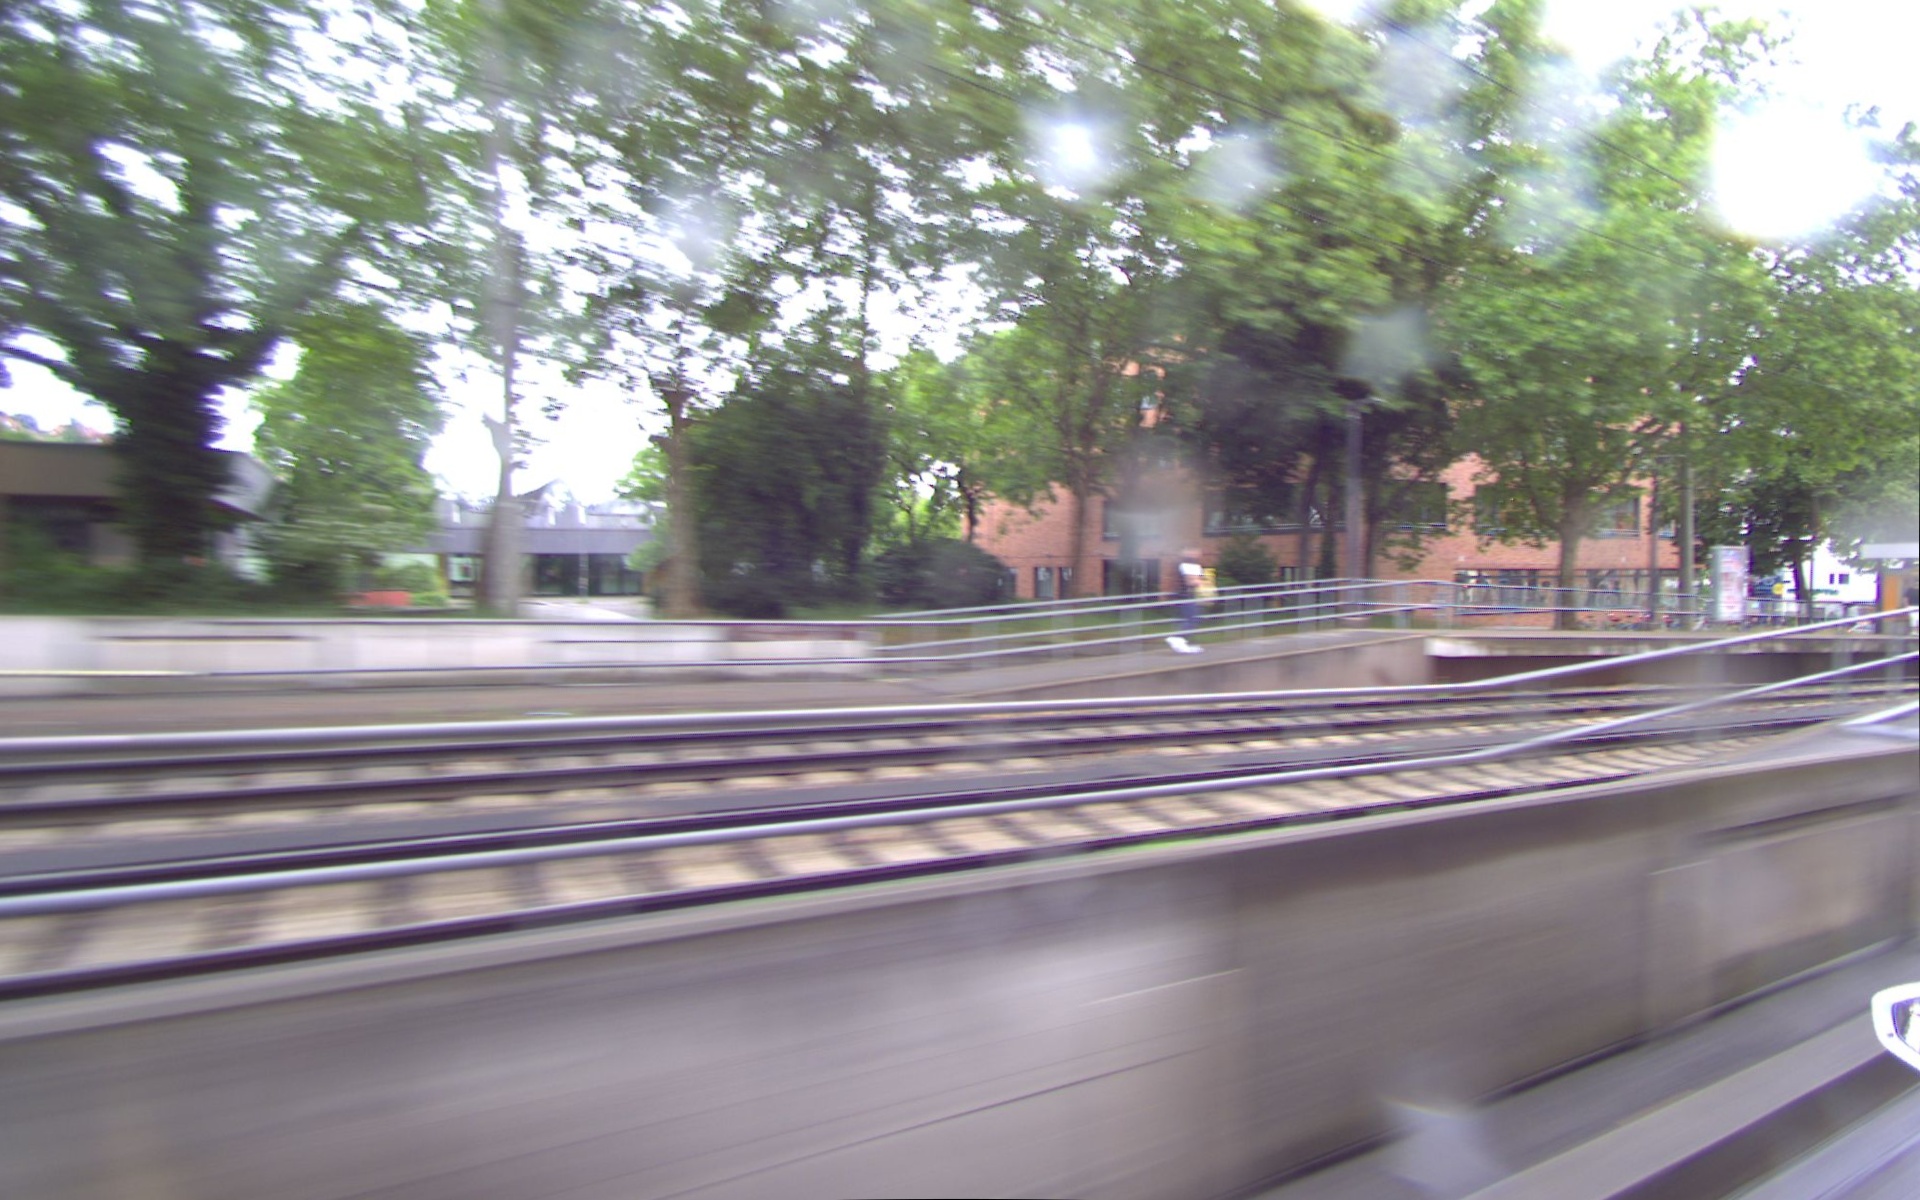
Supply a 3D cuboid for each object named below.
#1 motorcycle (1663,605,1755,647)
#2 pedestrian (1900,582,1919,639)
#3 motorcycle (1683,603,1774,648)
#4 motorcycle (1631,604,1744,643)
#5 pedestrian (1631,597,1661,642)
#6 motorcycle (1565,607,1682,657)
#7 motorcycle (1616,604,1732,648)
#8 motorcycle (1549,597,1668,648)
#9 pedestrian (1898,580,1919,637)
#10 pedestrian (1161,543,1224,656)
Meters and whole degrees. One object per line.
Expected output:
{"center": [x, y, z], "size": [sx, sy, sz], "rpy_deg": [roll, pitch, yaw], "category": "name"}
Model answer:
{"center": [32.475, 1.107, 43.619], "size": [0.995, 1.649, 3.042], "rpy_deg": [1, 1, -31], "category": "motorcycle"}
{"center": [29.658, 0.308, 31.113], "size": [0.698, 1.738, 0.559], "rpy_deg": [0, 2, -32], "category": "pedestrian"}
{"center": [33.939, 1.115, 44.428], "size": [0.982, 1.840, 3.021], "rpy_deg": [1, 1, -31], "category": "motorcycle"}
{"center": [31.273, 0.969, 43.306], "size": [0.995, 1.508, 3.844], "rpy_deg": [1, 1, -31], "category": "motorcycle"}
{"center": [31.691, 0.914, 46.393], "size": [0.968, 2.041, 0.729], "rpy_deg": [1, 1, -28], "category": "pedestrian"}
{"center": [26.725, 1.251, 40.566], "size": [0.995, 1.840, 3.844], "rpy_deg": [1, 1, -31], "category": "motorcycle"}
{"center": [29.753, 1.055, 41.970], "size": [0.995, 1.627, 3.844], "rpy_deg": [1, 1, -31], "category": "motorcycle"}
{"center": [25.346, 0.844, 39.361], "size": [0.995, 1.797, 3.844], "rpy_deg": [1, 1, -31], "category": "motorcycle"}
{"center": [28.565, 0.253, 29.974], "size": [0.558, 1.663, 0.682], "rpy_deg": [0, 2, -32], "category": "pedestrian"}
{"center": [3.605, -0.023, 15.585], "size": [0.679, 1.686, 0.654], "rpy_deg": [-4, 4, -30], "category": "pedestrian"}
